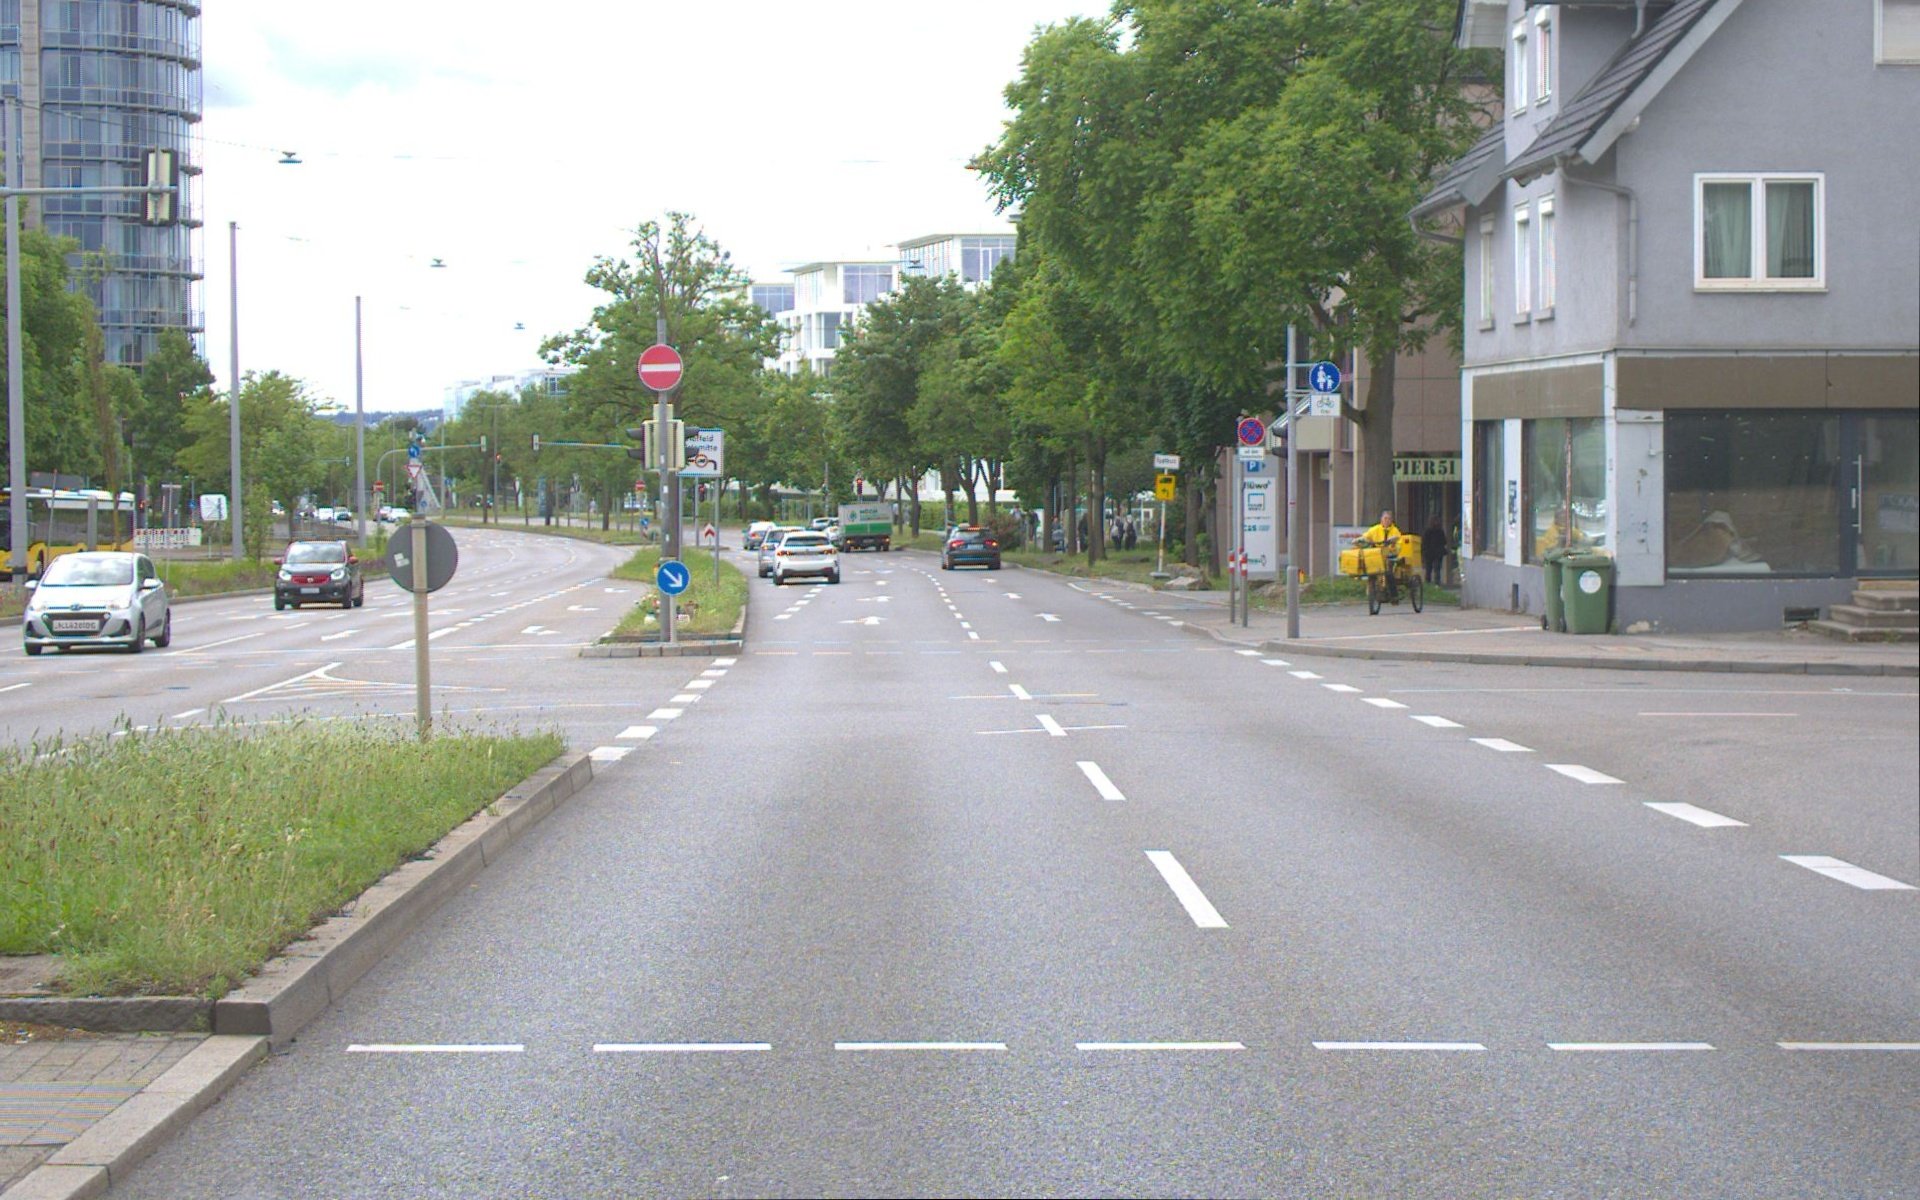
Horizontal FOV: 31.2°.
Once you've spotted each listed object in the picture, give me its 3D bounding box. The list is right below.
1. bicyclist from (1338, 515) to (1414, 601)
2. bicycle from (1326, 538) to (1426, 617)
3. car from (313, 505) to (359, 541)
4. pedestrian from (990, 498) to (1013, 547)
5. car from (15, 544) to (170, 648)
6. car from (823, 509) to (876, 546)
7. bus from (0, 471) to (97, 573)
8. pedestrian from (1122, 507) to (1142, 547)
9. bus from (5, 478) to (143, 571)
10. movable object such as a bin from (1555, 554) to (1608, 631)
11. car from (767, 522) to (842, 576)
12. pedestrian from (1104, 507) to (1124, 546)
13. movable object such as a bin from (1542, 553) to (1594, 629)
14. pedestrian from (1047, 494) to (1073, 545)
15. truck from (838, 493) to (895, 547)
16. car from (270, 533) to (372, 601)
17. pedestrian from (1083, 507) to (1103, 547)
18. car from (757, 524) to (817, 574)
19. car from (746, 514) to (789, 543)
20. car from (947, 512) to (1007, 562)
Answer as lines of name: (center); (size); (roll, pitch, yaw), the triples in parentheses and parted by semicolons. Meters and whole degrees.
bicyclist: (6.596, -0.672, 54.546); (1.075, 1.352, 0.627); (0, 1, 19)
bicycle: (6.616, -0.369, 54.583); (1.075, 1.213, 2.437); (0, 1, 19)
car: (-36.341, -4.459, 200.258); (1.965, 2.007, 4.000); (1, 1, -1)
pedestrian: (1.985, -3.694, 164.132); (0.930, 2.300, 1.011); (1, 0, -10)
car: (-12.807, -0.087, 50.922); (1.684, 1.457, 3.556); (-1, 1, -5)
car: (-5.316, -3.477, 165.063); (2.251, 1.751, 4.934); (-1, 1, -5)
bus: (-31.401, -2.563, 114.462); (3.144, 3.214, 10.286); (-1, 1, -3)
pedestrian: (6.818, -2.895, 136.065); (0.650, 1.564, 0.671); (-1, 1, -8)
bus: (-31.740, -2.704, 123.465); (3.144, 3.214, 7.766); (-1, 1, -2)
movable object such as a bin: (7.958, -0.102, 44.047); (0.529, 0.976, 0.736); (-1, 1, -1)
car: (-4.343, -1.436, 96.397); (1.993, 1.472, 4.256); (-1, 1, -1)
pedestrian: (6.095, -2.905, 136.095); (0.650, 1.564, 0.671); (-1, 1, -8)
movable object such as a bin: (7.929, -0.127, 44.837); (0.529, 0.976, 0.736); (-1, 1, -1)
pedestrian: (4.008, -3.211, 137.782); (0.971, 2.007, 0.981); (1, 0, -1)
truck: (-4.271, -3.645, 156.466); (2.251, 2.408, 4.934); (0, 1, -5)
car: (-14.397, -0.765, 77.636); (1.702, 1.487, 3.562); (-1, 1, -1)
pedestrian: (5.273, -2.888, 136.241); (0.650, 1.564, 0.671); (-1, 1, -8)
car: (-5.441, -1.605, 107.821); (1.822, 1.535, 4.115); (0, 1, -3)
car: (-9.698, -3.596, 173.149); (1.967, 1.415, 4.023); (-1, 1, -5)
car: (0.543, -2.048, 112.803); (1.889, 1.489, 4.099); (-2, 0, 0)
